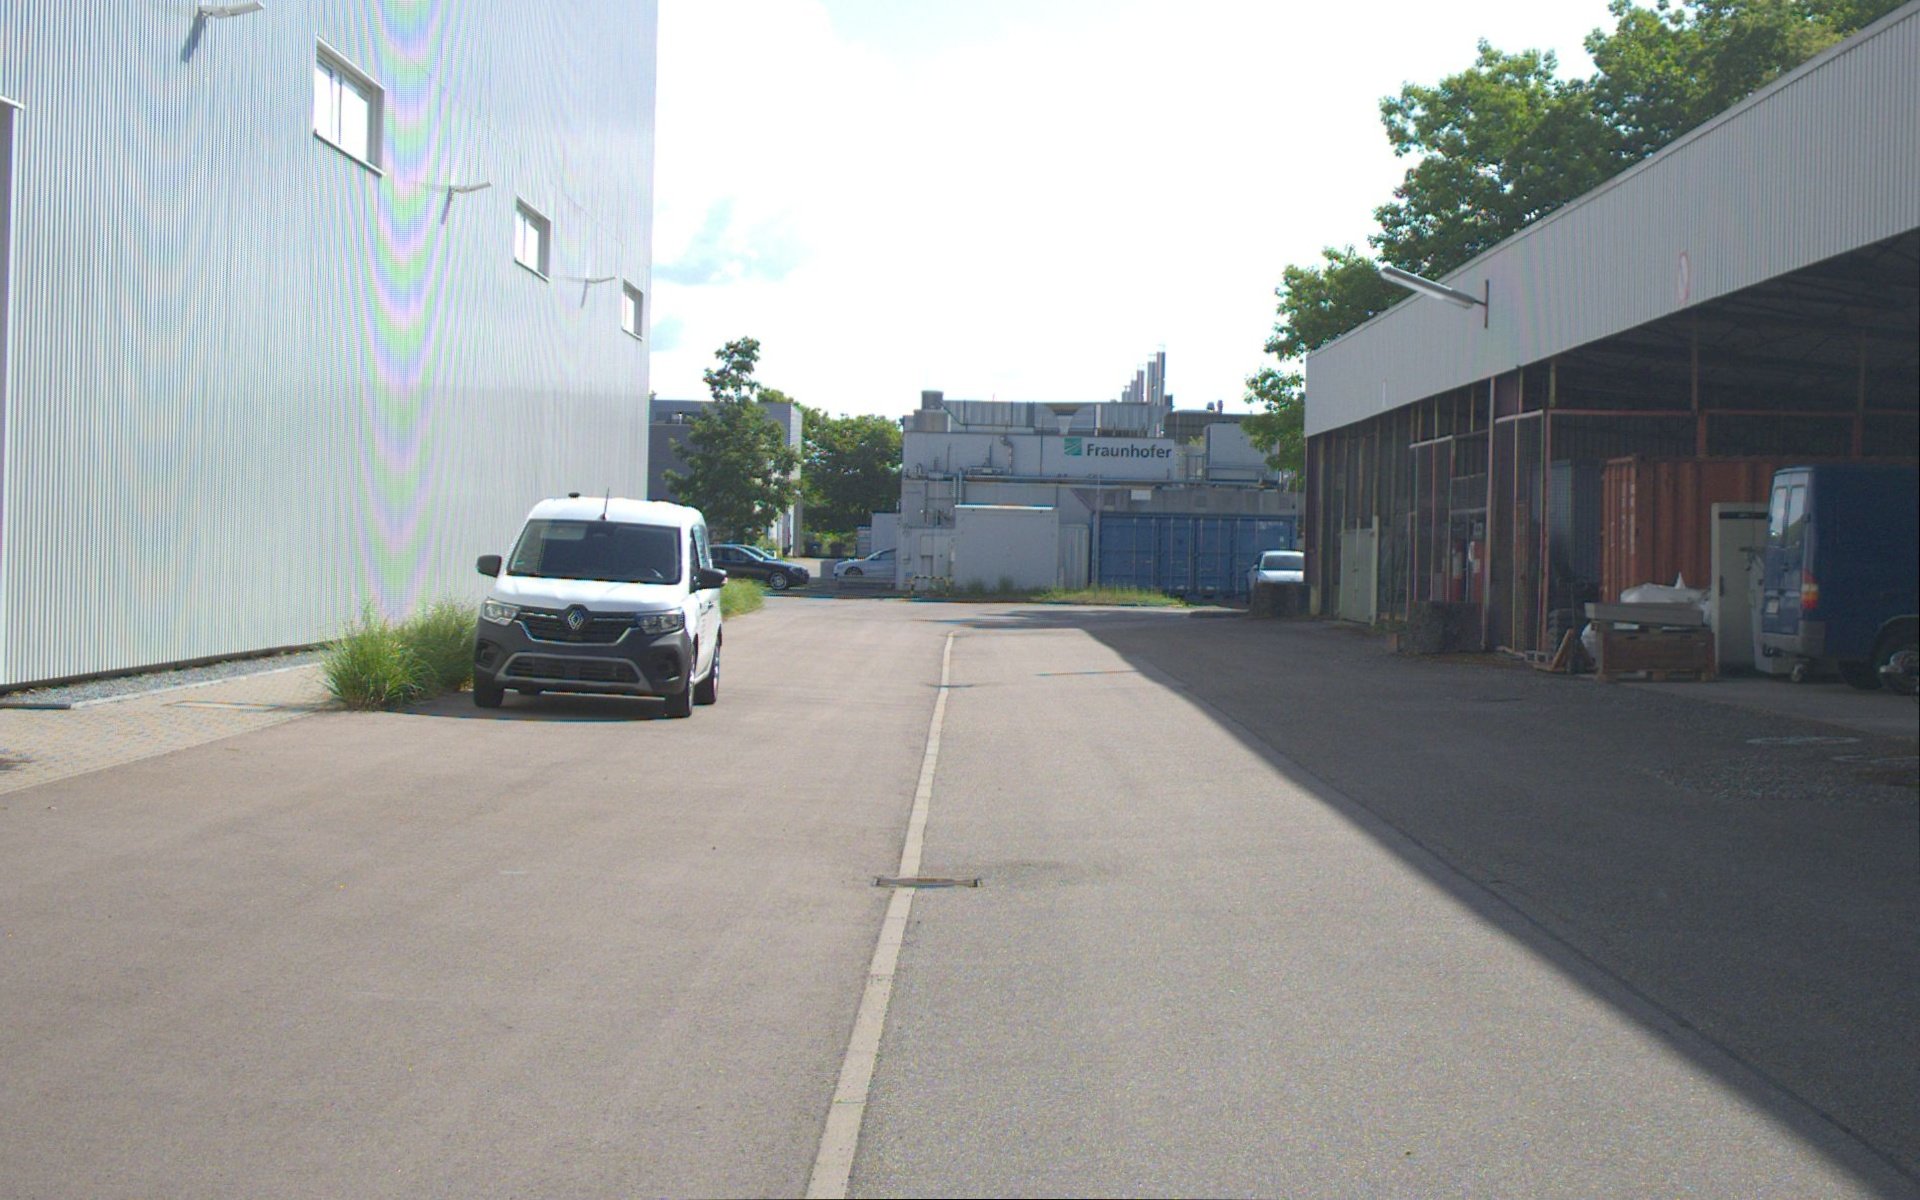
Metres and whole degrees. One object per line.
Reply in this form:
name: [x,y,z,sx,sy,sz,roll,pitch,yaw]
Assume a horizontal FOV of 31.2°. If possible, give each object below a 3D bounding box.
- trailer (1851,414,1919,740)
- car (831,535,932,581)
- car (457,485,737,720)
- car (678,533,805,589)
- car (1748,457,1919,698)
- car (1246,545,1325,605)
trailer: [8.240,-0.142,26.001,2.523,2.390,1.727,1,0,1]
car: [-3.179,-1.697,139.694,3.987,1.592,1.848,3,-1,-1]
car: [-3.037,-0.027,29.594,1.819,1.781,4.405,3,1,1]
car: [-7.093,-1.260,111.859,3.987,1.592,1.741,3,-1,-1]
car: [10.441,-0.133,34.764,4.433,2.302,1.915,3,-1,1]
car: [9.368,-0.746,99.255,1.962,1.559,4.059,3,1,2]
